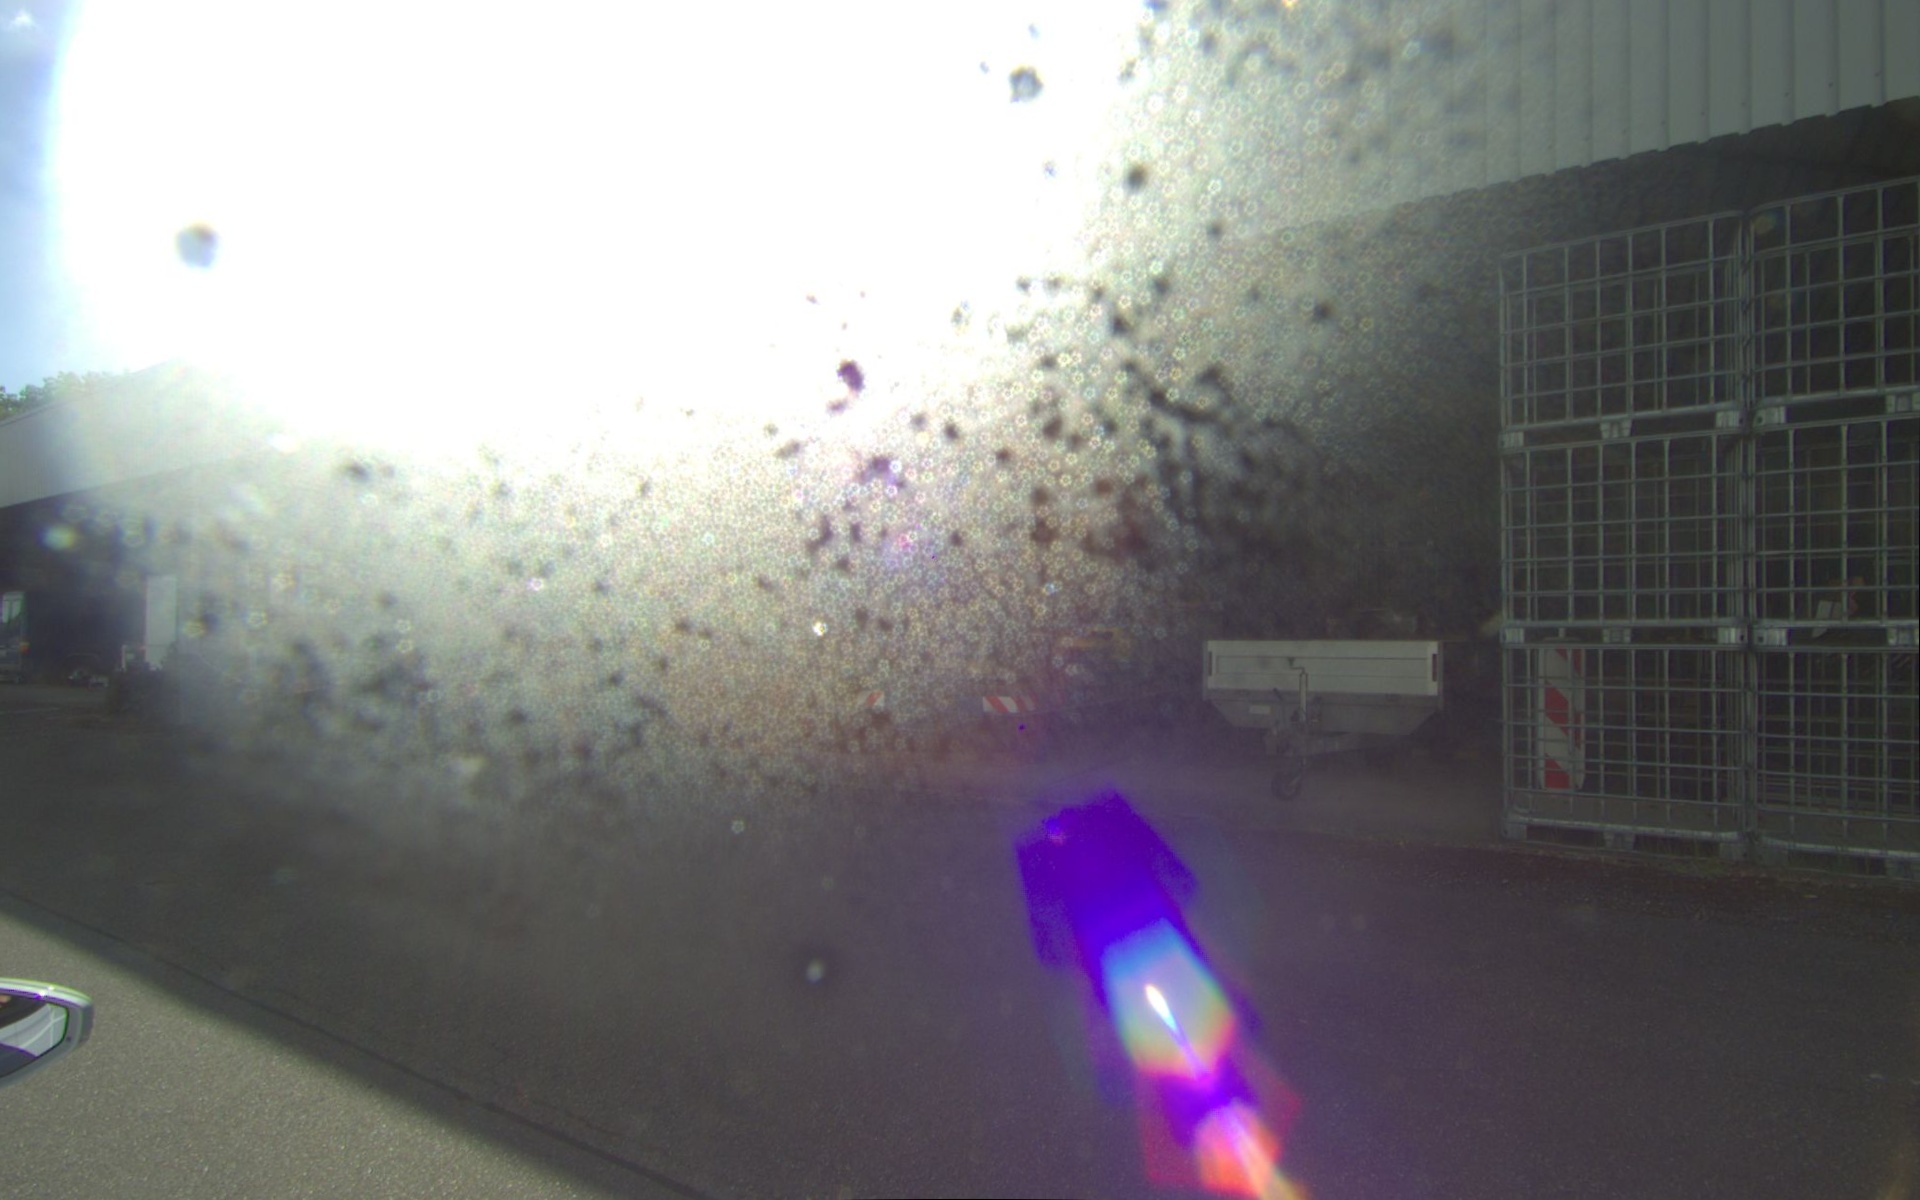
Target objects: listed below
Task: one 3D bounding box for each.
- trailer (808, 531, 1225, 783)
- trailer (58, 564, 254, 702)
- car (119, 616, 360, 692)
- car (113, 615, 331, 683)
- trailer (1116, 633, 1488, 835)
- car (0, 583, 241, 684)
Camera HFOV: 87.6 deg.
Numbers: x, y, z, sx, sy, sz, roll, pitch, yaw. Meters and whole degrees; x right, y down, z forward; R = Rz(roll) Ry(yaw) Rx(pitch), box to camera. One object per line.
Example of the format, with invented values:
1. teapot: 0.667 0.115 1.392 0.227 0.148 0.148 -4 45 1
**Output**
1. trailer: 1.005 0.526 11.151 2.049 2.058 5.753 -1 -1 33
2. trailer: -15.270 0.635 19.090 1.703 2.429 2.518 -2 -2 33
3. car: -15.885 1.230 22.290 1.662 1.543 4.031 -3 -5 33
4. car: -18.224 1.257 24.906 1.662 1.543 4.031 -3 -5 33
5. trailer: 3.497 0.919 9.170 2.110 1.148 5.840 -1 -1 30
6. car: -21.377 0.942 25.635 1.890 2.337 4.425 -3 -4 33
